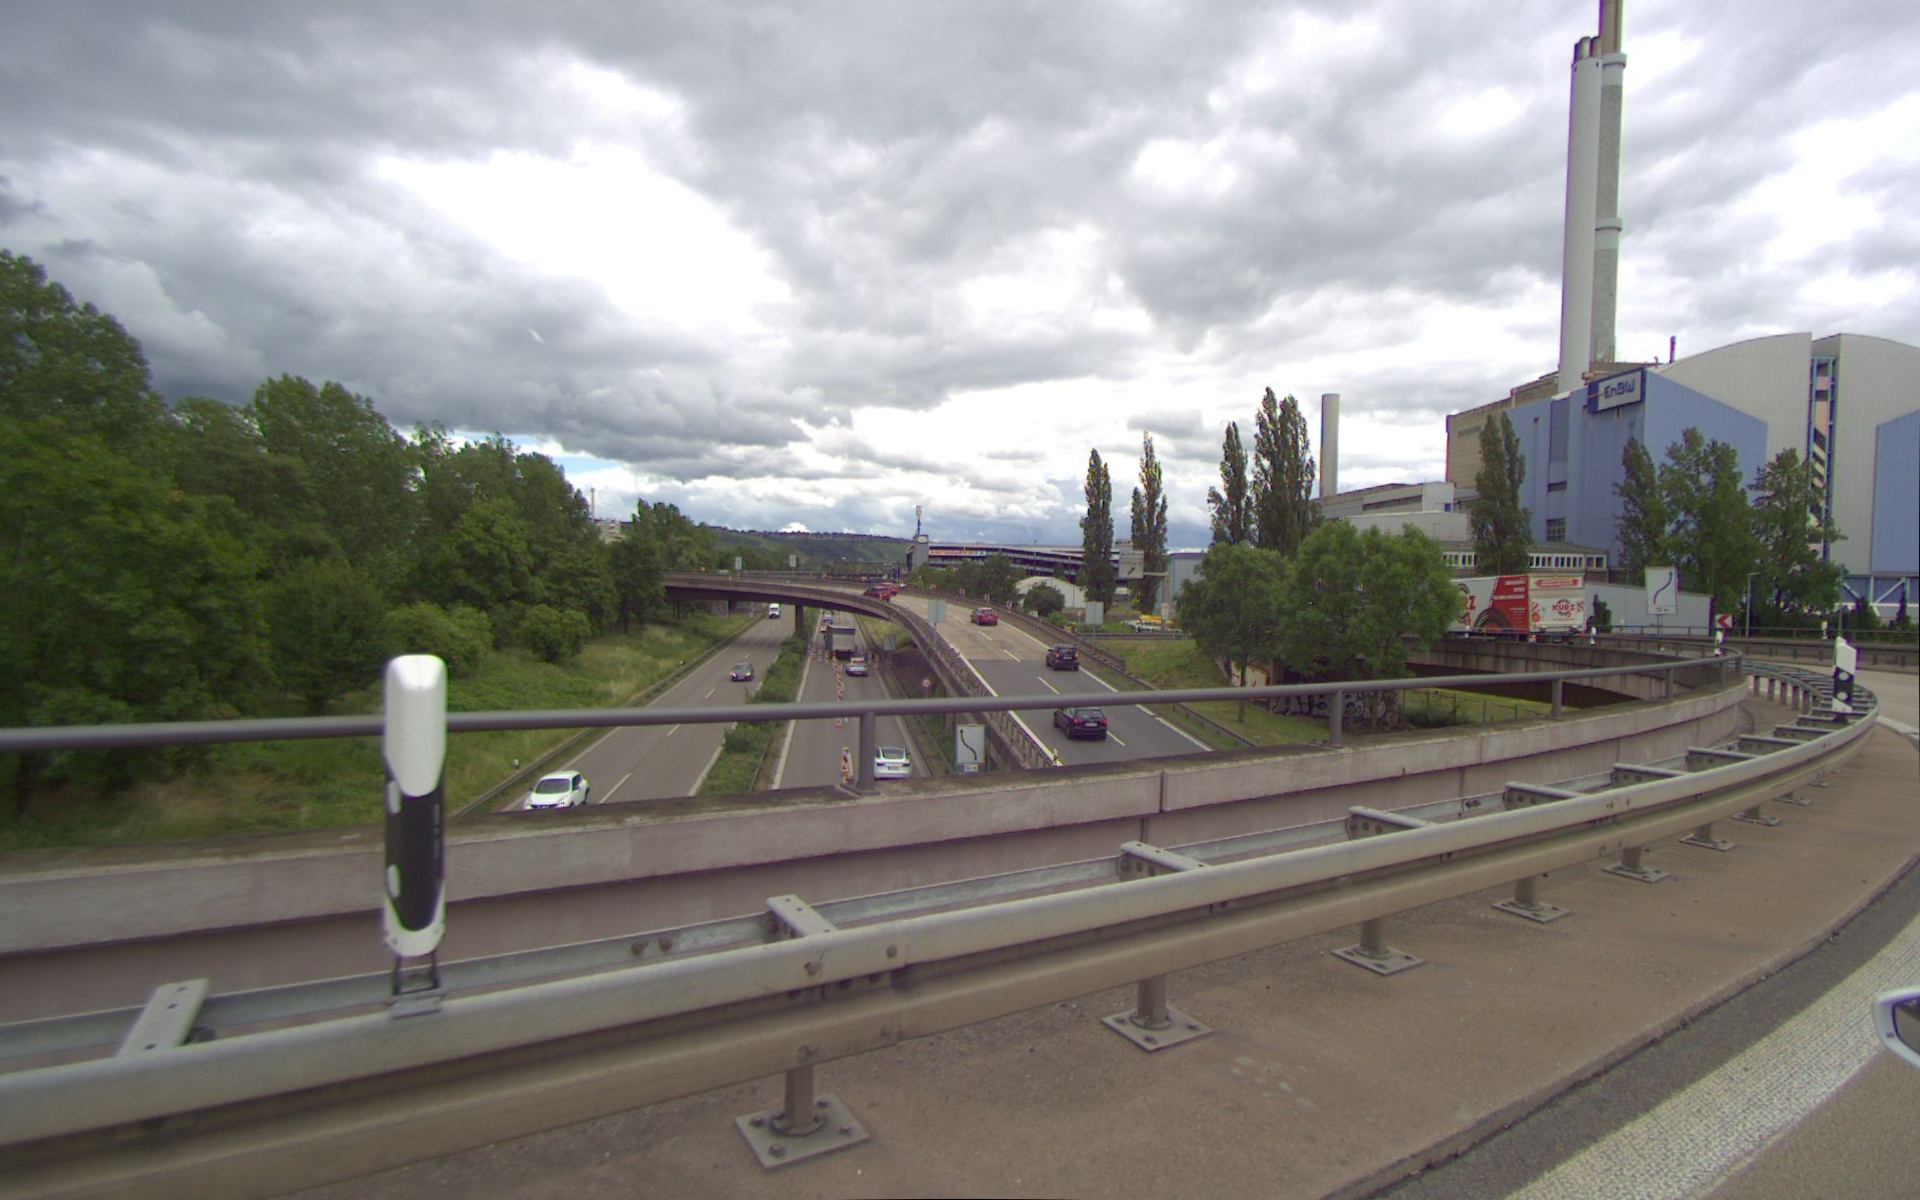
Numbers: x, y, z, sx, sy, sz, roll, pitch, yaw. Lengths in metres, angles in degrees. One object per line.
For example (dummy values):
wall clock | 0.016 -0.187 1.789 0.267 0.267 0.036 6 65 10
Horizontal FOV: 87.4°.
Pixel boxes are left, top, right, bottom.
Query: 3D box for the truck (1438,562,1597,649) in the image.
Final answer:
truck | 26.172 0.190 47.737 3.001 3.722 7.926 1 1 -1

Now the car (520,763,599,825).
car | -15.931 7.697 40.167 1.835 1.684 3.996 1 1 -5
